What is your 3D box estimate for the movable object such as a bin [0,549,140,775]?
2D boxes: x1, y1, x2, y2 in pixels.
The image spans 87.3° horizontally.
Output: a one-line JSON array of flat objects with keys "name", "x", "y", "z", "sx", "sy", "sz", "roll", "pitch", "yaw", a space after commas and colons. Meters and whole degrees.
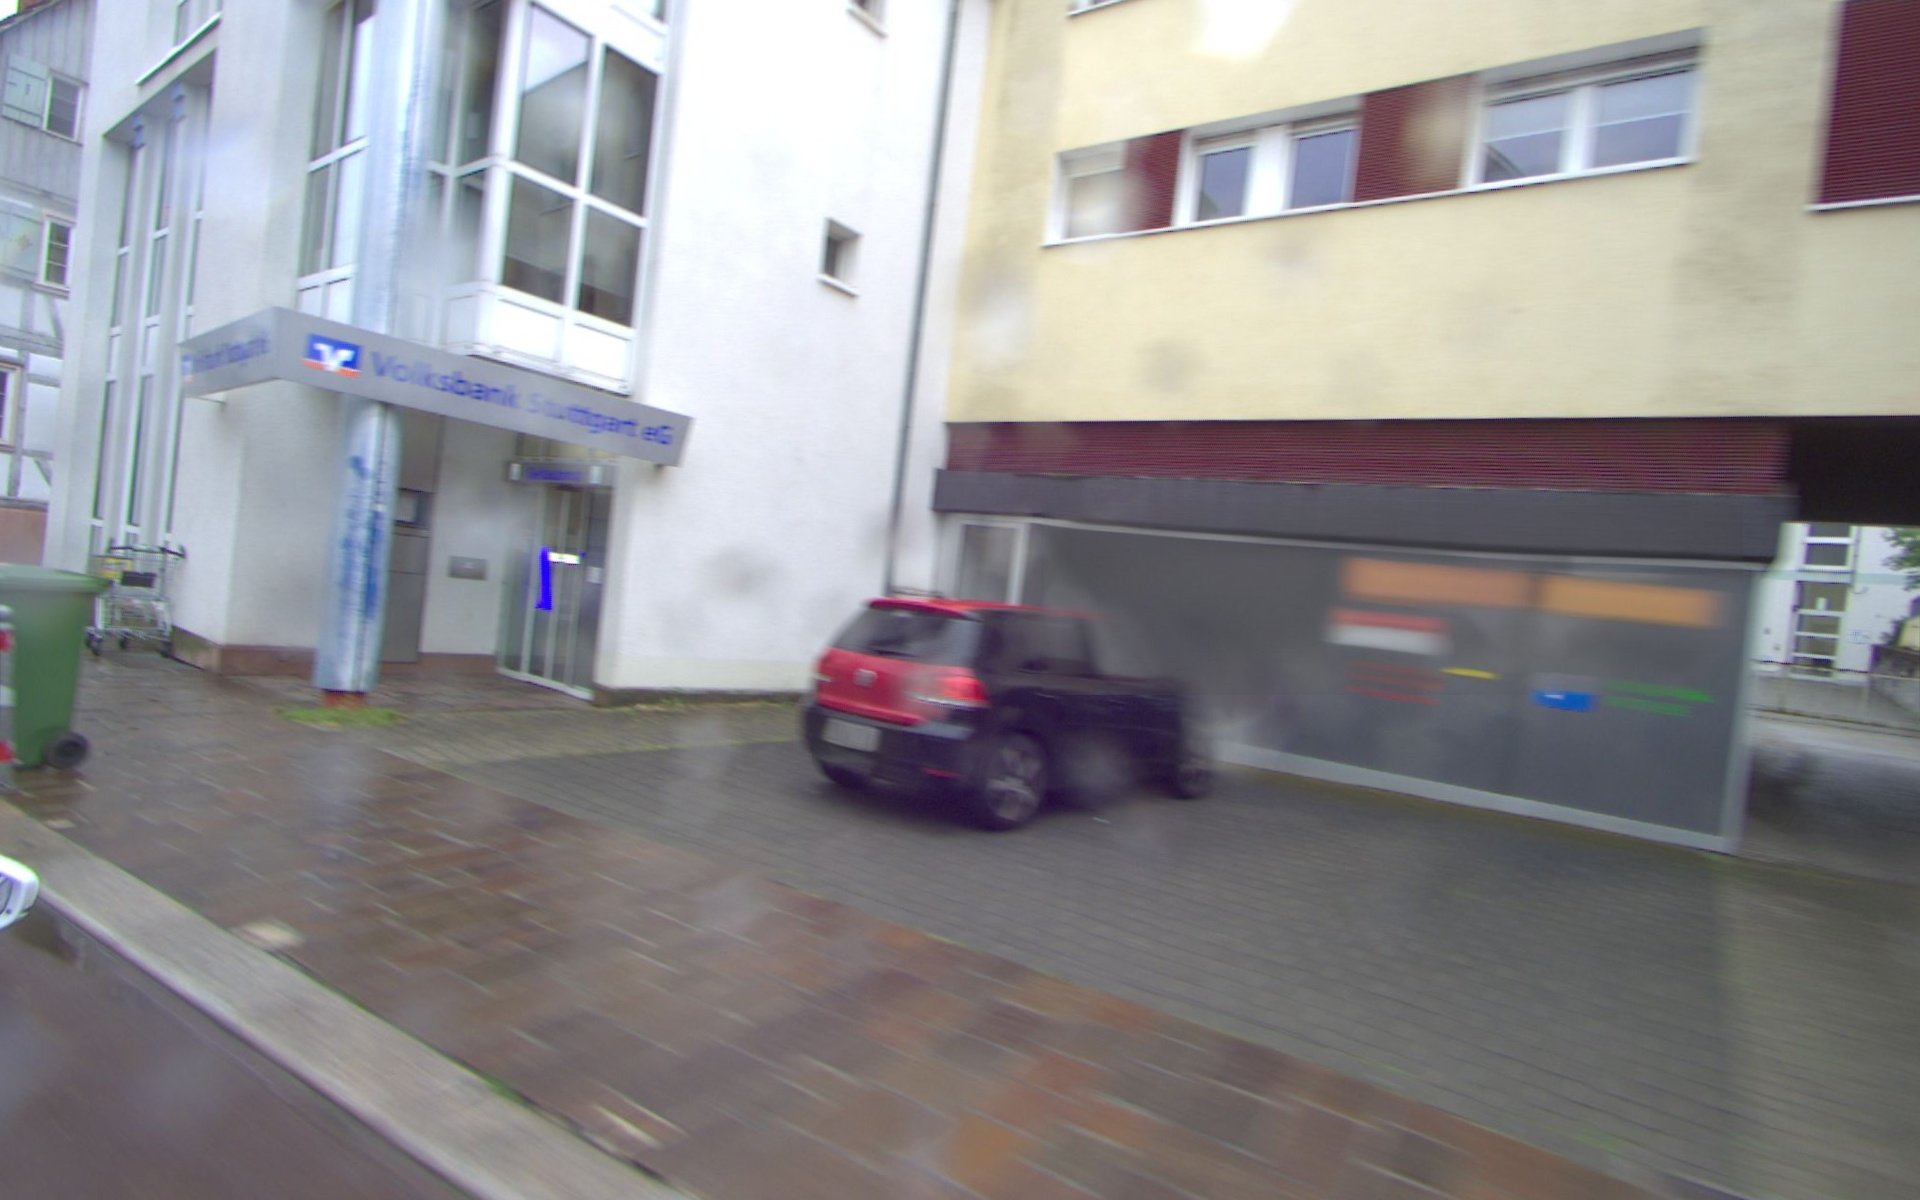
[{"name": "movable object such as a bin", "x": -5.201, "y": 0.305, "z": 5.489, "sx": 0.848, "sy": 1.145, "sz": 0.805, "roll": 5, "pitch": 0, "yaw": 30}]

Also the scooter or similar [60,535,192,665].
[{"name": "scooter or similar", "x": -8.360, "y": -0.012, "z": 10.071, "sx": 1.425, "sy": 1.160, "sz": 0.664, "roll": 5, "pitch": 0, "yaw": 38}]

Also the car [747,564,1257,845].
[{"name": "car", "x": 0.548, "y": 0.715, "z": 8.066, "sx": 1.885, "sy": 1.534, "sz": 3.978, "roll": 8, "pitch": 2, "yaw": 41}]
